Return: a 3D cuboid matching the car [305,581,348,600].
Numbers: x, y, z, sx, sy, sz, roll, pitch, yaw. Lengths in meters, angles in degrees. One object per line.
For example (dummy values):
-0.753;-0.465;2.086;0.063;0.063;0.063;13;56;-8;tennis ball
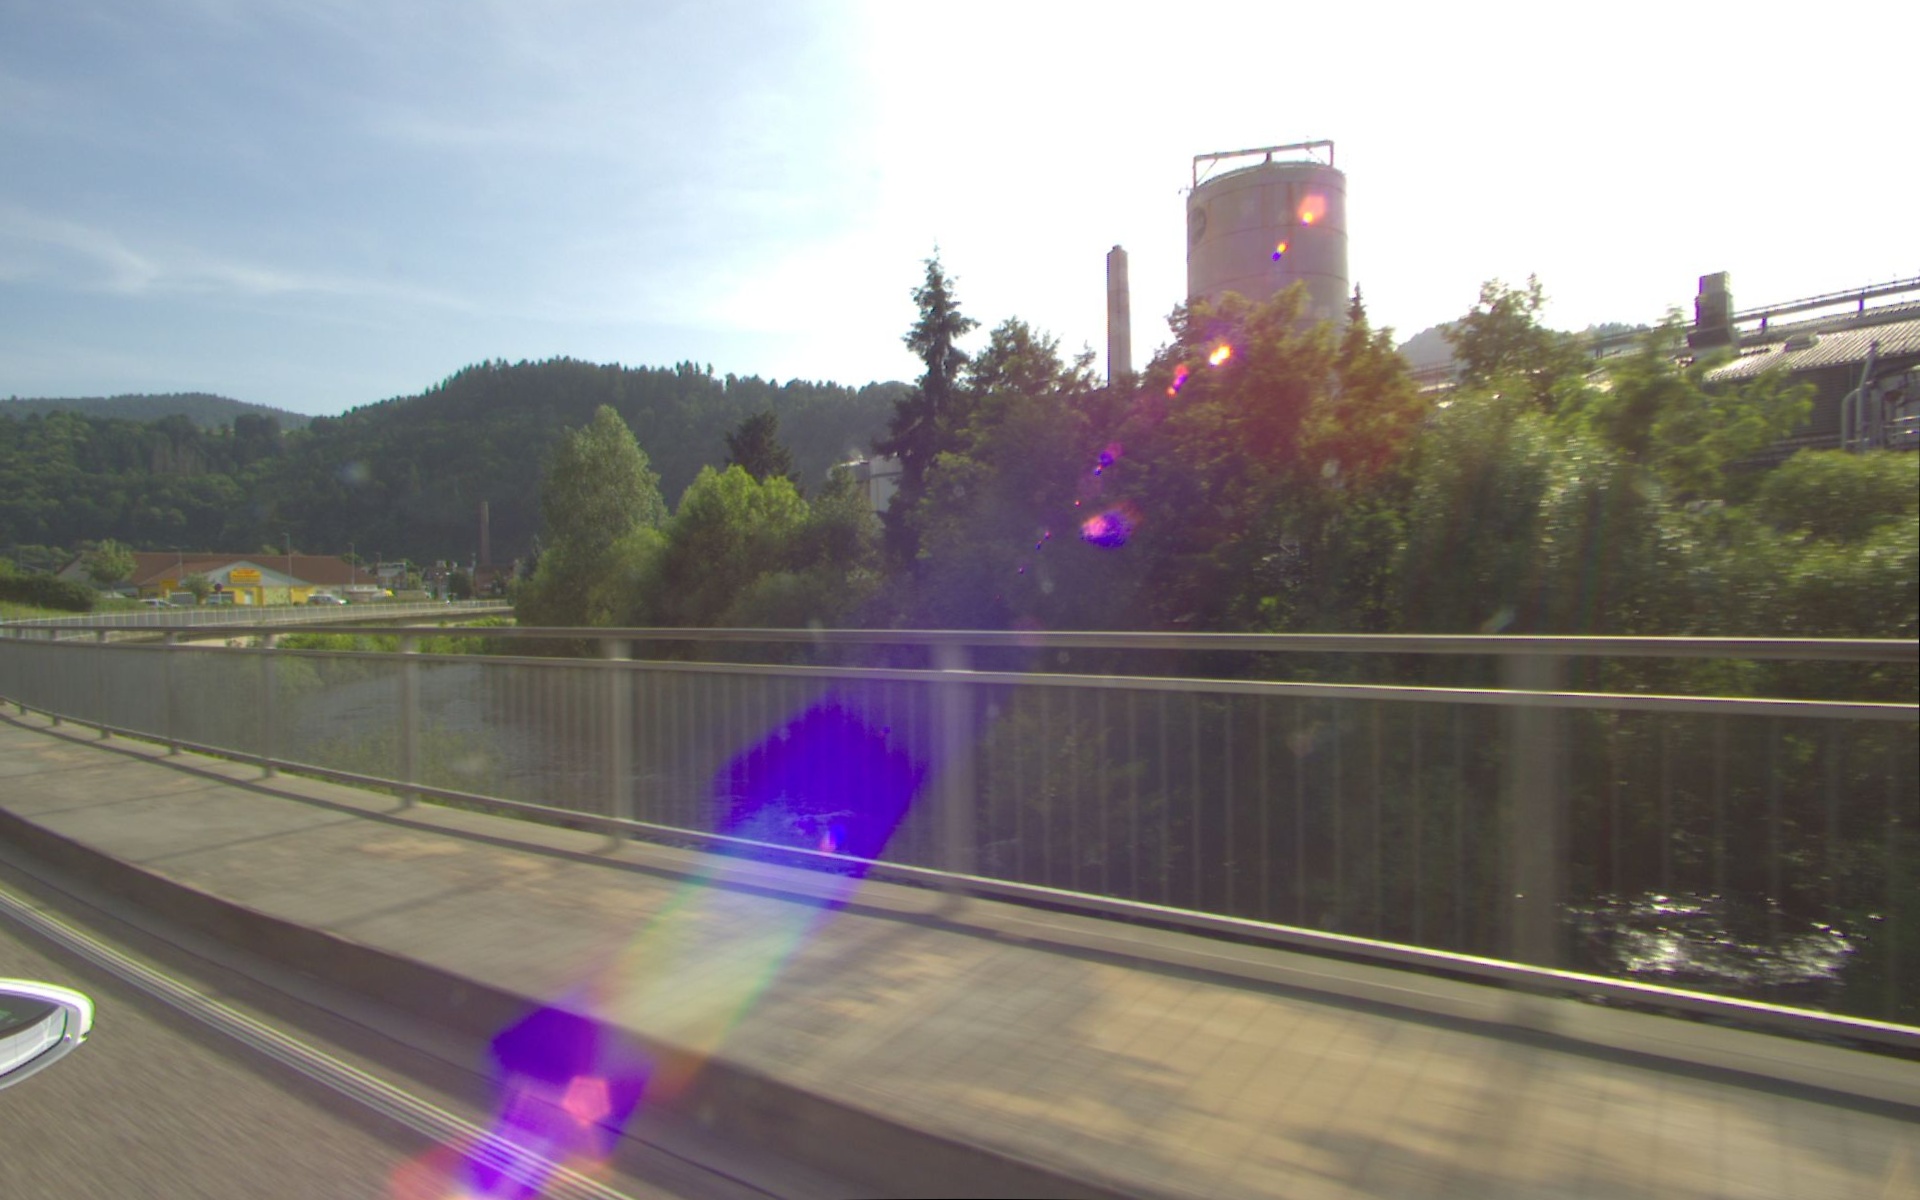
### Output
-77.928;-1.153;123.225;3.923;2.038;2.002;1;-4;-7;car
